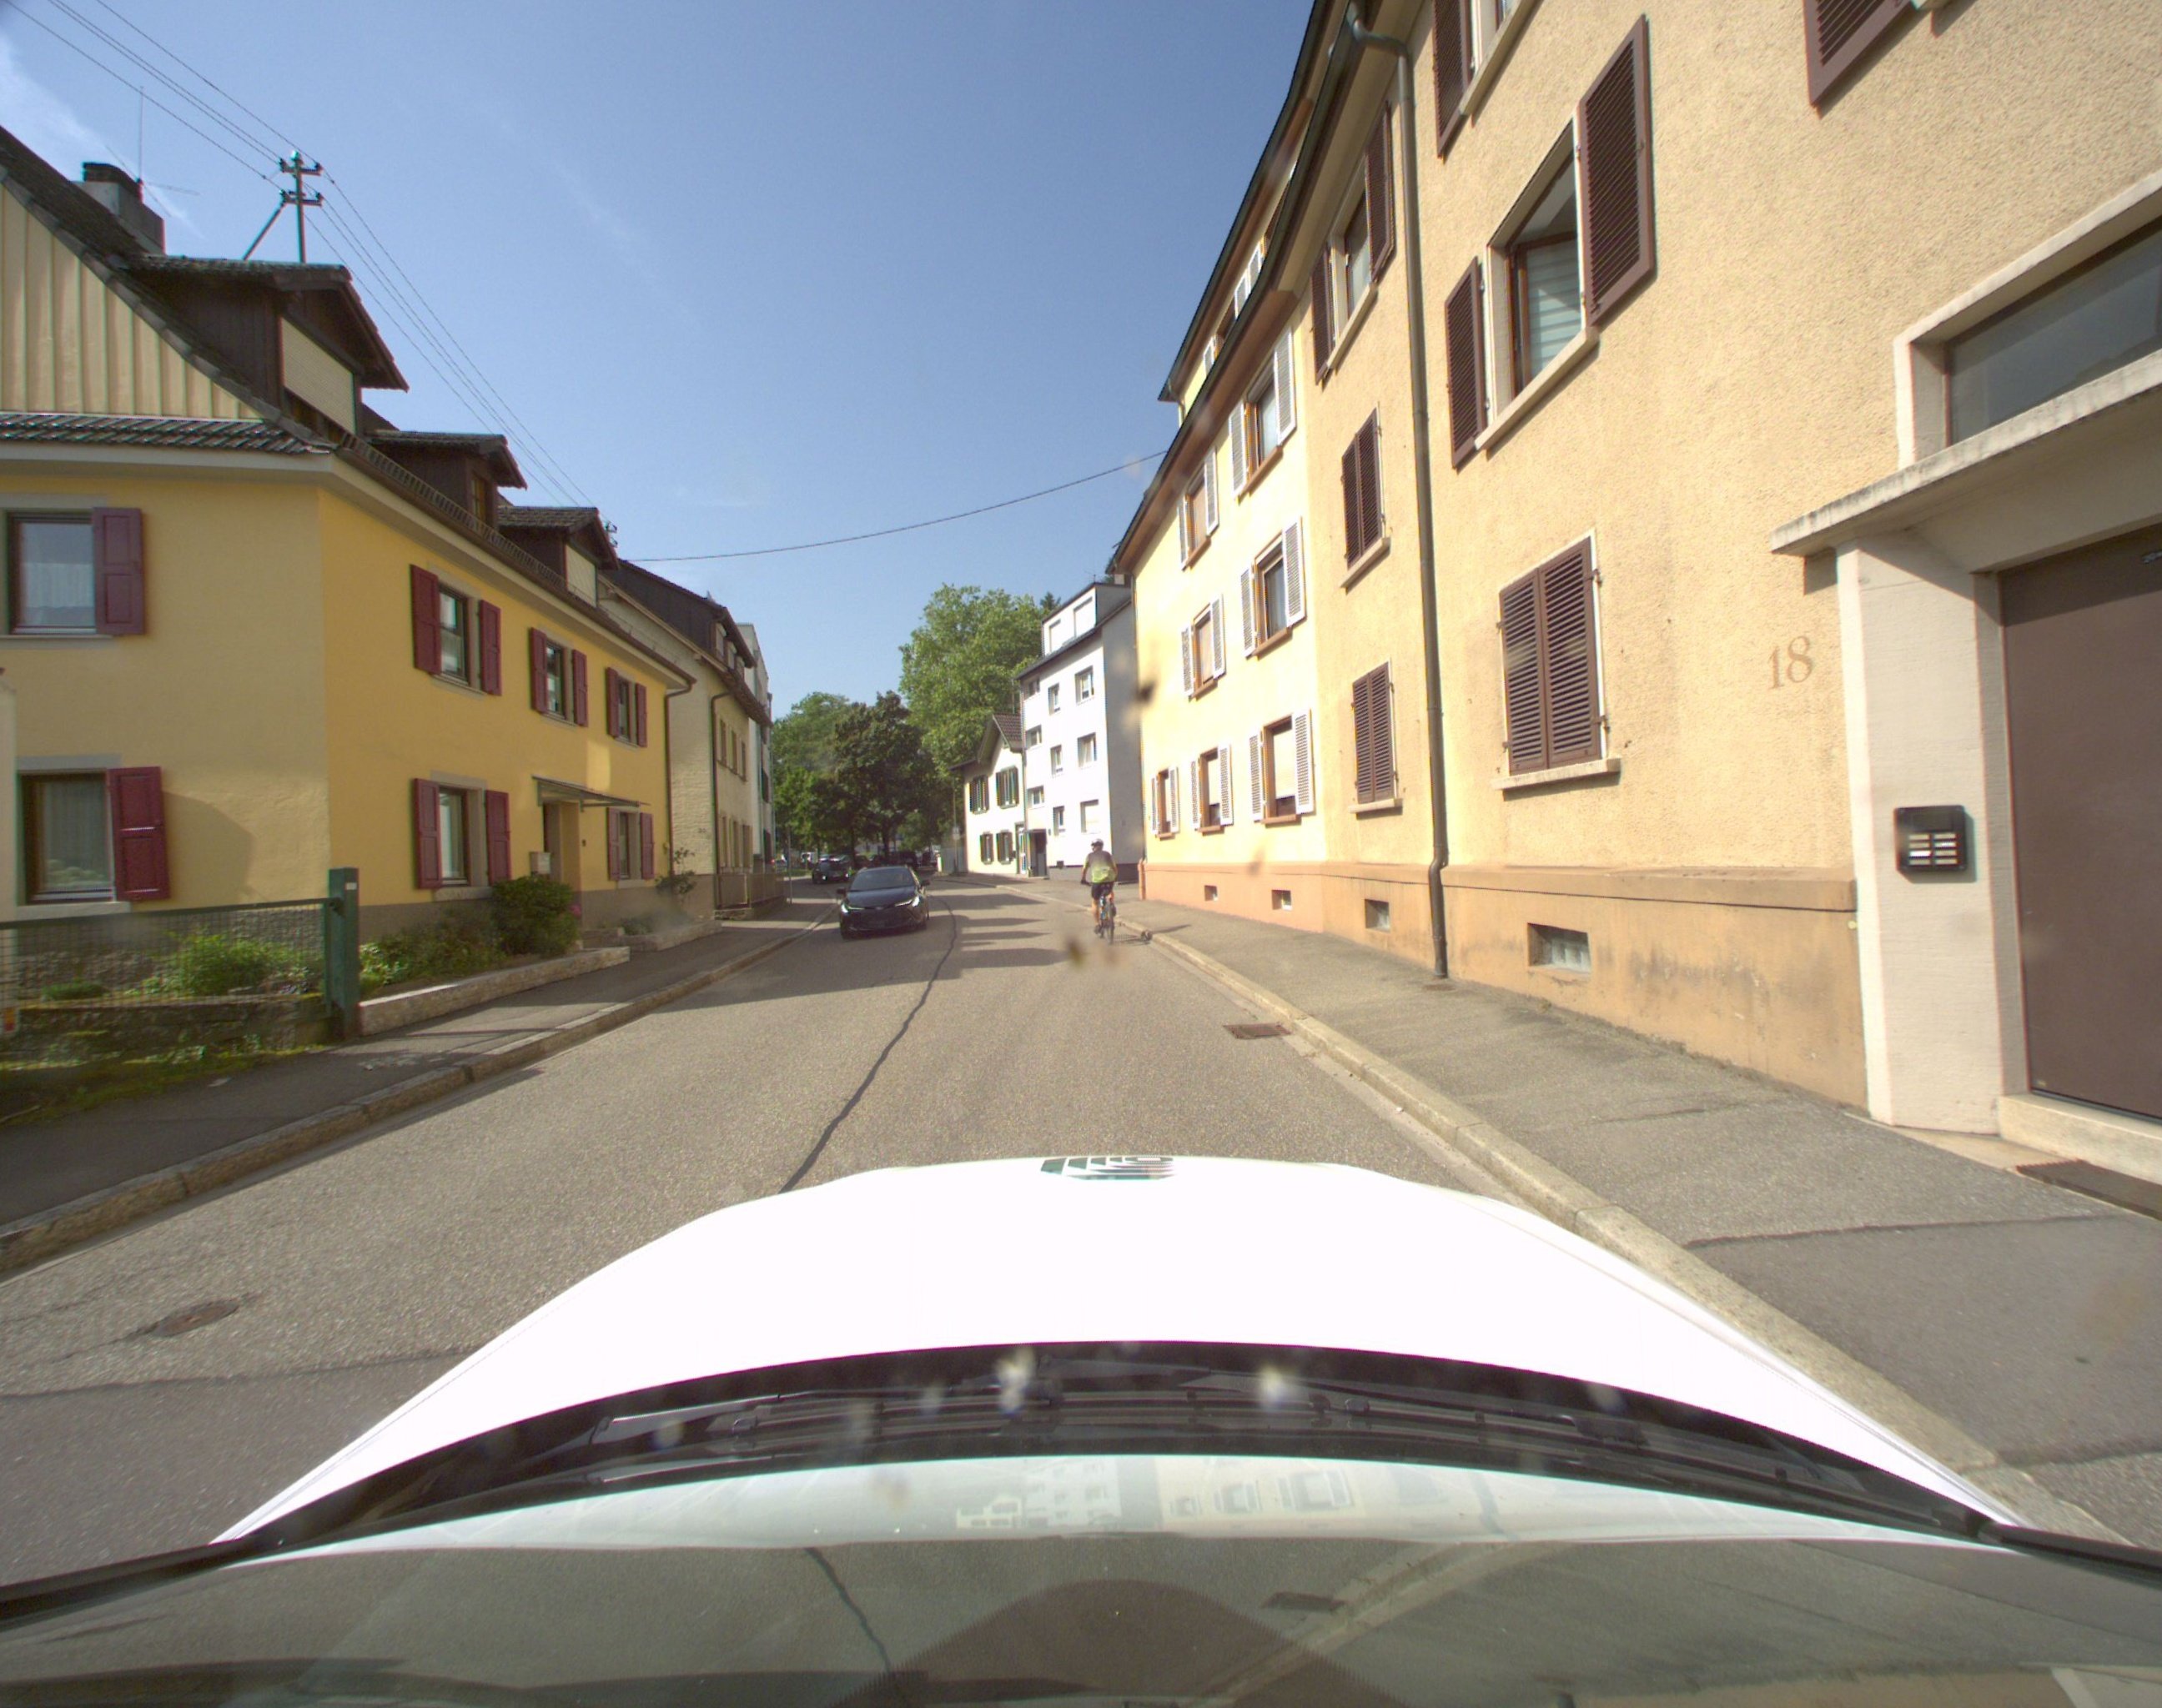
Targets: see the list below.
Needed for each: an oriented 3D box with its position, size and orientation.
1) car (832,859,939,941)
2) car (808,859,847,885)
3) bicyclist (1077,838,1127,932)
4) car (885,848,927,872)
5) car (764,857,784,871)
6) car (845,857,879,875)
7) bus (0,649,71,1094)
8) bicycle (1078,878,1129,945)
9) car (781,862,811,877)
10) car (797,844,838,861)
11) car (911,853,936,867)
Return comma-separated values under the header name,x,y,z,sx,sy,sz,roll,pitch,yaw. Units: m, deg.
name,x,y,z,sx,sy,sz,roll,pitch,yaw
car,-4.272,0.930,18.417,1.657,1.449,4.250,-5,1,-6
car,-17.061,1.212,54.644,1.833,1.537,3.966,-6,1,-25
bicyclist,0.343,0.515,13.857,0.685,1.531,0.714,-3,0,-7
car,-14.175,0.487,65.742,1.836,1.790,3.957,-3,2,-35
car,-34.365,1.102,91.071,1.752,1.552,3.722,-2,0,-25
car,-20.315,1.099,75.529,1.721,1.542,3.957,-3,2,-35
bus,-9.433,0.158,1.820,2.809,3.228,9.041,-1,0,2
bicycle,0.362,0.949,13.918,0.697,1.035,1.468,-1,0,-5
car,-30.365,1.654,86.803,3.367,1.468,1.688,-2,0,45
car,-31.601,-0.167,97.796,1.975,1.855,4.728,-2,0,25
car,-15.320,0.563,79.095,1.589,1.257,3.829,-3,1,-22
